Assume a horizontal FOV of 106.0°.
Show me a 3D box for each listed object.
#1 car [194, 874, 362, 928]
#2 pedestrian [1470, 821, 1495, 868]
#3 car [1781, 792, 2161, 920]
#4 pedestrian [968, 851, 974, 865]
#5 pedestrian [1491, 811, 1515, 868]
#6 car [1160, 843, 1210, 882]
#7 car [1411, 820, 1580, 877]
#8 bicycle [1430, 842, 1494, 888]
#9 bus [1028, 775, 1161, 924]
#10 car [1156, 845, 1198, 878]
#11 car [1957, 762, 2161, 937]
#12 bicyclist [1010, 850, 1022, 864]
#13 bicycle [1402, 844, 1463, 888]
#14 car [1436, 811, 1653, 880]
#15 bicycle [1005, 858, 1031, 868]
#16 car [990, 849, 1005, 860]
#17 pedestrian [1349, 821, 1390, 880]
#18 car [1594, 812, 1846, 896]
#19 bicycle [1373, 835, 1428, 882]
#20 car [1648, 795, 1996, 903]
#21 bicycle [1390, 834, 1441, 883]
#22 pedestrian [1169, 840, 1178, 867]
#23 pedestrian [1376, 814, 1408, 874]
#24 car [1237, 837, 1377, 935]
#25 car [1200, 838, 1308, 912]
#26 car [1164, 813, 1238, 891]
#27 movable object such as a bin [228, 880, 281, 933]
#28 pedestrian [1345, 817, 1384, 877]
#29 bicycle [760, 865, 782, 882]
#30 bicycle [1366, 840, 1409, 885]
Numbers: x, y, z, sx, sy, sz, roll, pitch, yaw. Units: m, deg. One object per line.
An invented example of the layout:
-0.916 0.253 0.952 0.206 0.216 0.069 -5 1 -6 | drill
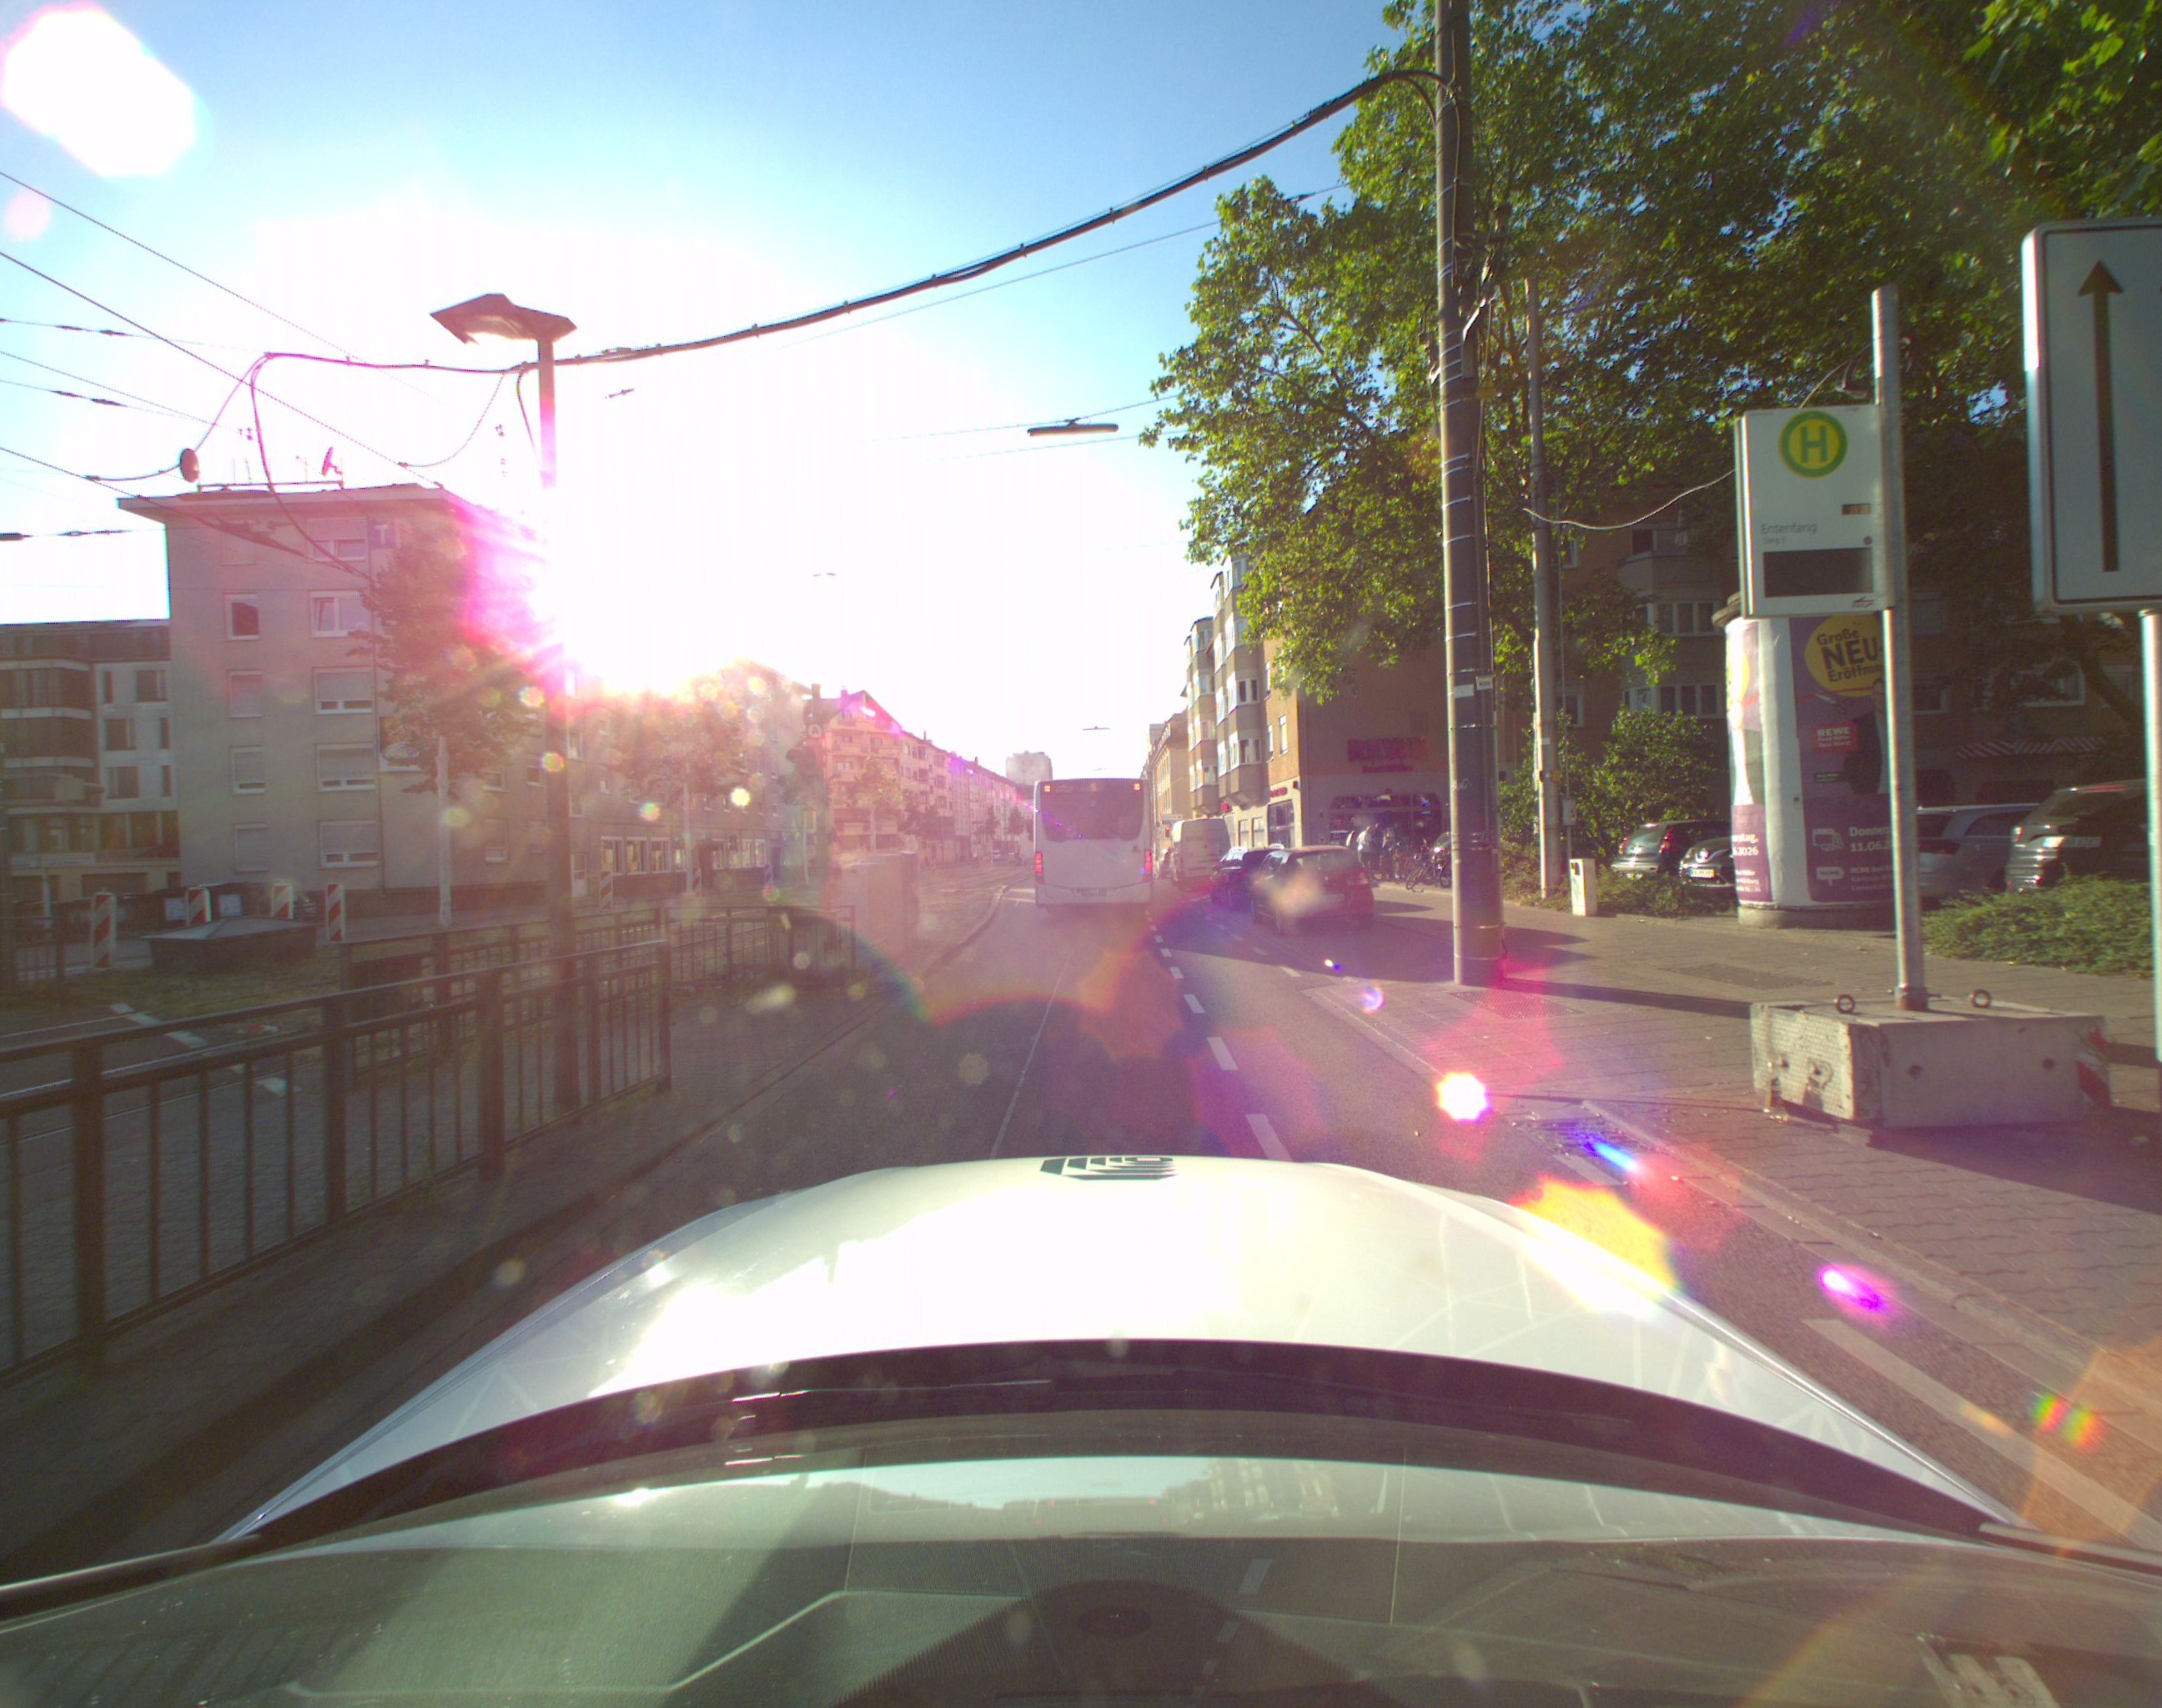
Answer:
-26.530 1.525 26.987 3.800 1.512 1.819 -3 0 3 | car
13.644 -0.321 27.695 0.640 1.568 0.417 -2 0 -28 | pedestrian
11.910 0.019 10.684 3.824 1.495 1.858 1 0 3 | car
-16.908 0.612 125.506 0.784 2.013 0.890 -2 0 -1 | pedestrian
14.159 -0.486 27.306 0.578 1.881 0.468 -2 0 -39 | pedestrian
4.644 0.368 36.769 1.831 1.588 3.788 -2 0 2 | car
12.267 -0.143 24.314 4.000 1.432 2.000 -2 -3 0 | car
9.125 0.250 19.478 1.687 1.014 0.644 -3 0 -37 | bicycle
0.450 -0.122 21.318 2.728 3.055 8.858 -1 0 2 | bus
5.008 0.367 42.825 1.831 1.536 4.232 -2 0 2 | car
12.023 -0.060 8.440 3.824 1.631 1.858 0 0 3 | car
-5.475 0.269 68.997 0.932 1.161 0.642 -2 0 -9 | bicyclist
8.754 0.288 20.274 1.590 1.014 0.644 -3 0 -37 | bicycle
12.108 -0.223 21.503 4.602 1.709 2.000 1 0 0 | car
-5.349 0.754 69.008 2.063 0.732 0.760 -2 0 -10 | bicycle
-14.015 0.059 137.276 1.804 1.797 4.248 -2 0 3 | car
8.421 -0.110 23.798 0.658 1.636 0.988 -6 1 -6 | pedestrian
12.200 -0.008 15.728 3.485 1.482 1.774 1 0 0 | car
8.851 0.110 22.542 1.590 1.226 0.644 -3 0 -37 | bicycle
11.900 -0.086 13.305 4.007 1.600 1.856 1 0 0 | car
8.851 0.106 21.498 0.639 1.226 1.592 -2 0 45 | bicycle
6.133 -0.019 54.027 0.545 1.784 0.450 -3 0 2 | pedestrian
9.547 -0.299 25.018 0.527 1.781 0.649 -6 1 -6 | pedestrian
4.051 0.519 15.166 1.564 1.494 3.626 -4 0 1 | car
4.276 0.465 20.825 1.691 1.530 4.652 -5 0 1 | car
4.501 -0.095 31.463 2.009 2.551 5.787 -6 0 2 | car
-23.068 1.457 22.747 0.661 1.400 0.749 -3 0 0 | movable object such as a bin
8.793 -0.217 25.304 0.803 1.751 0.769 -5 1 2 | pedestrian
-21.090 1.311 55.399 0.744 1.115 1.779 -2 0 2 | bicycle
8.786 0.223 23.319 1.528 1.226 0.399 -2 0 -39 | bicycle
